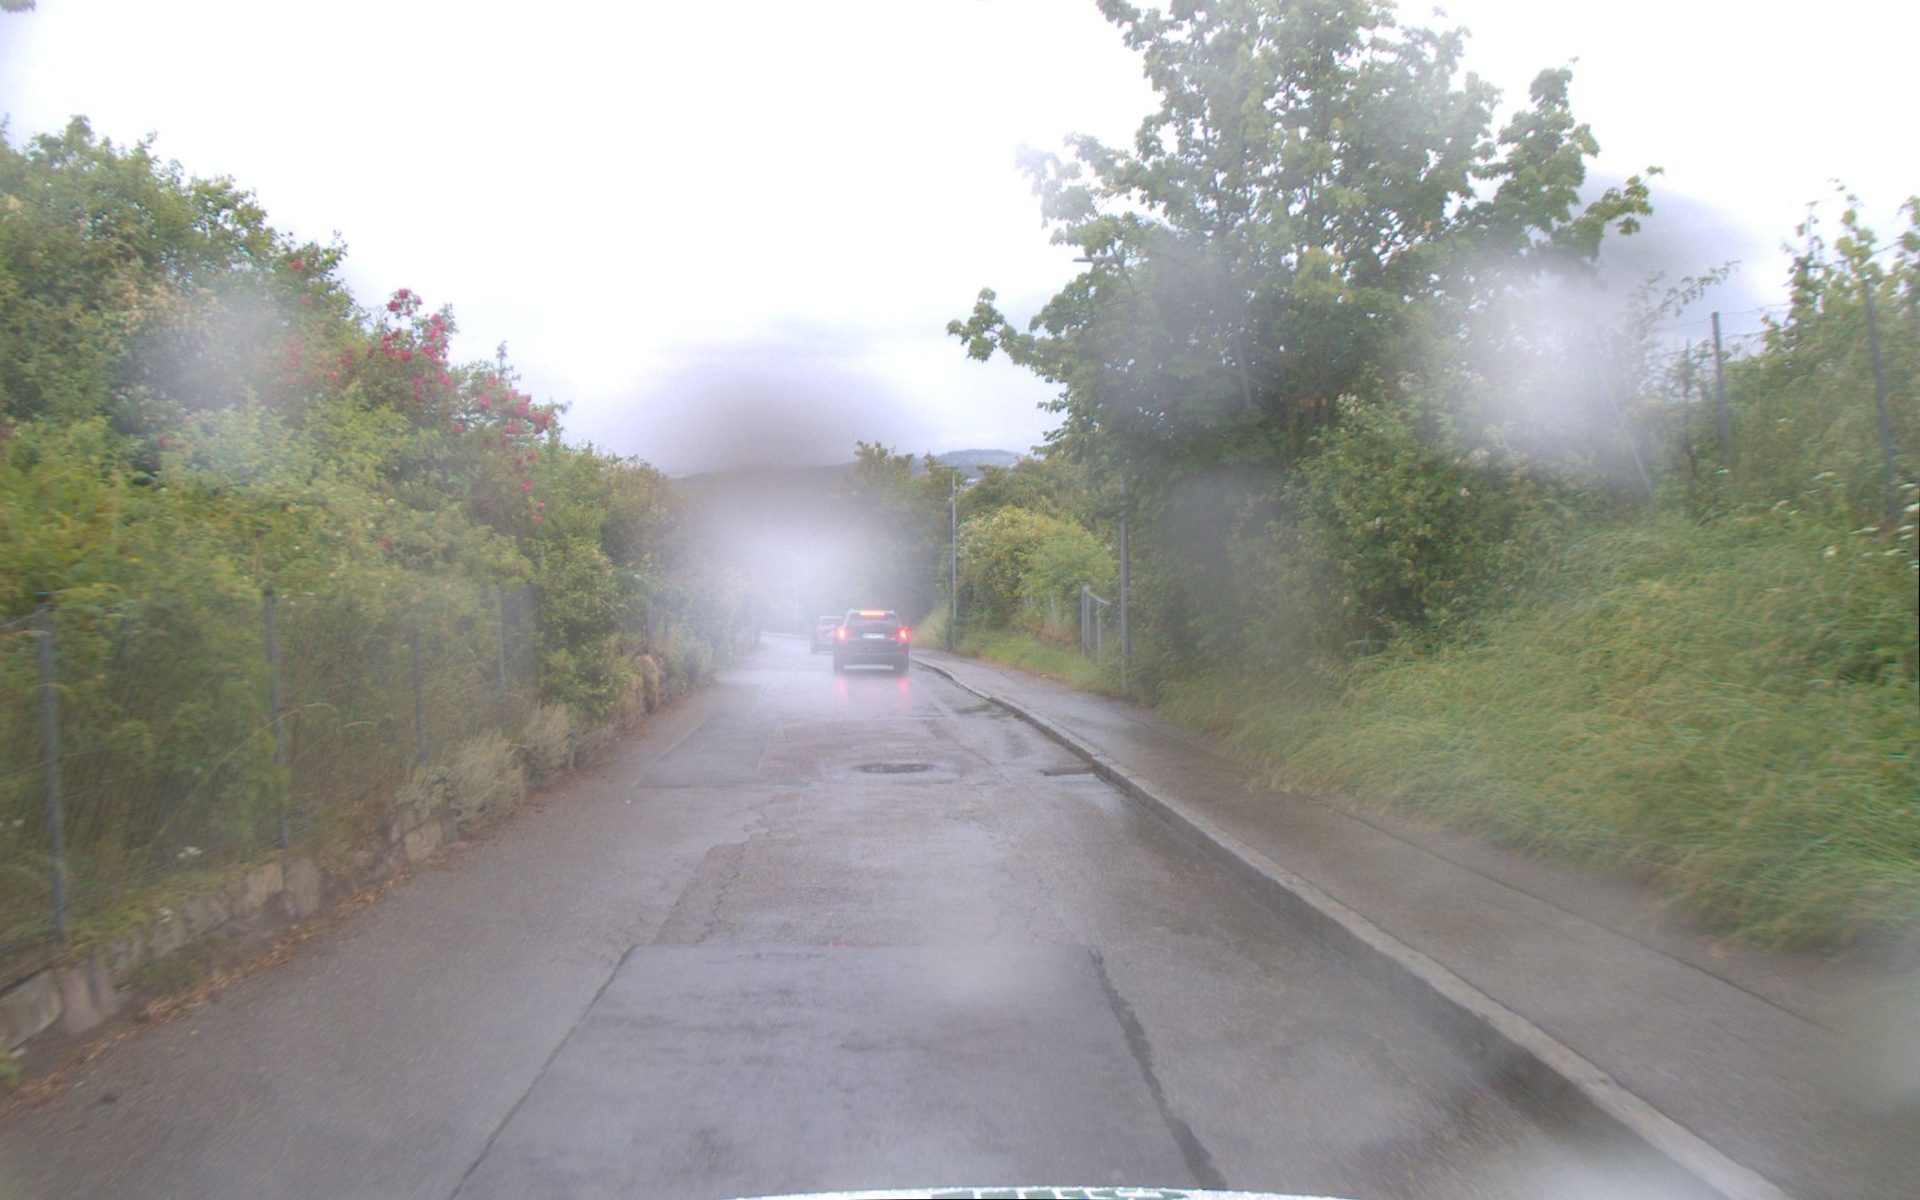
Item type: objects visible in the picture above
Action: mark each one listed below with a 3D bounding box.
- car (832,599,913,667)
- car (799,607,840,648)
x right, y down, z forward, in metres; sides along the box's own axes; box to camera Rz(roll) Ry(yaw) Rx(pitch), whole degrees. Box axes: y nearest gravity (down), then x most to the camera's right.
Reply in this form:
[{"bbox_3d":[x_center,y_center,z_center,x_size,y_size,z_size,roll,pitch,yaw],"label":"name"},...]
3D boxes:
[{"bbox_3d":[-2.121,0.731,39.336,1.799,1.489,3.997,-1,0,-4],"label":"car"},{"bbox_3d":[-5.750,1.101,67.714,1.645,1.592,3.790,0,1,-5],"label":"car"}]
